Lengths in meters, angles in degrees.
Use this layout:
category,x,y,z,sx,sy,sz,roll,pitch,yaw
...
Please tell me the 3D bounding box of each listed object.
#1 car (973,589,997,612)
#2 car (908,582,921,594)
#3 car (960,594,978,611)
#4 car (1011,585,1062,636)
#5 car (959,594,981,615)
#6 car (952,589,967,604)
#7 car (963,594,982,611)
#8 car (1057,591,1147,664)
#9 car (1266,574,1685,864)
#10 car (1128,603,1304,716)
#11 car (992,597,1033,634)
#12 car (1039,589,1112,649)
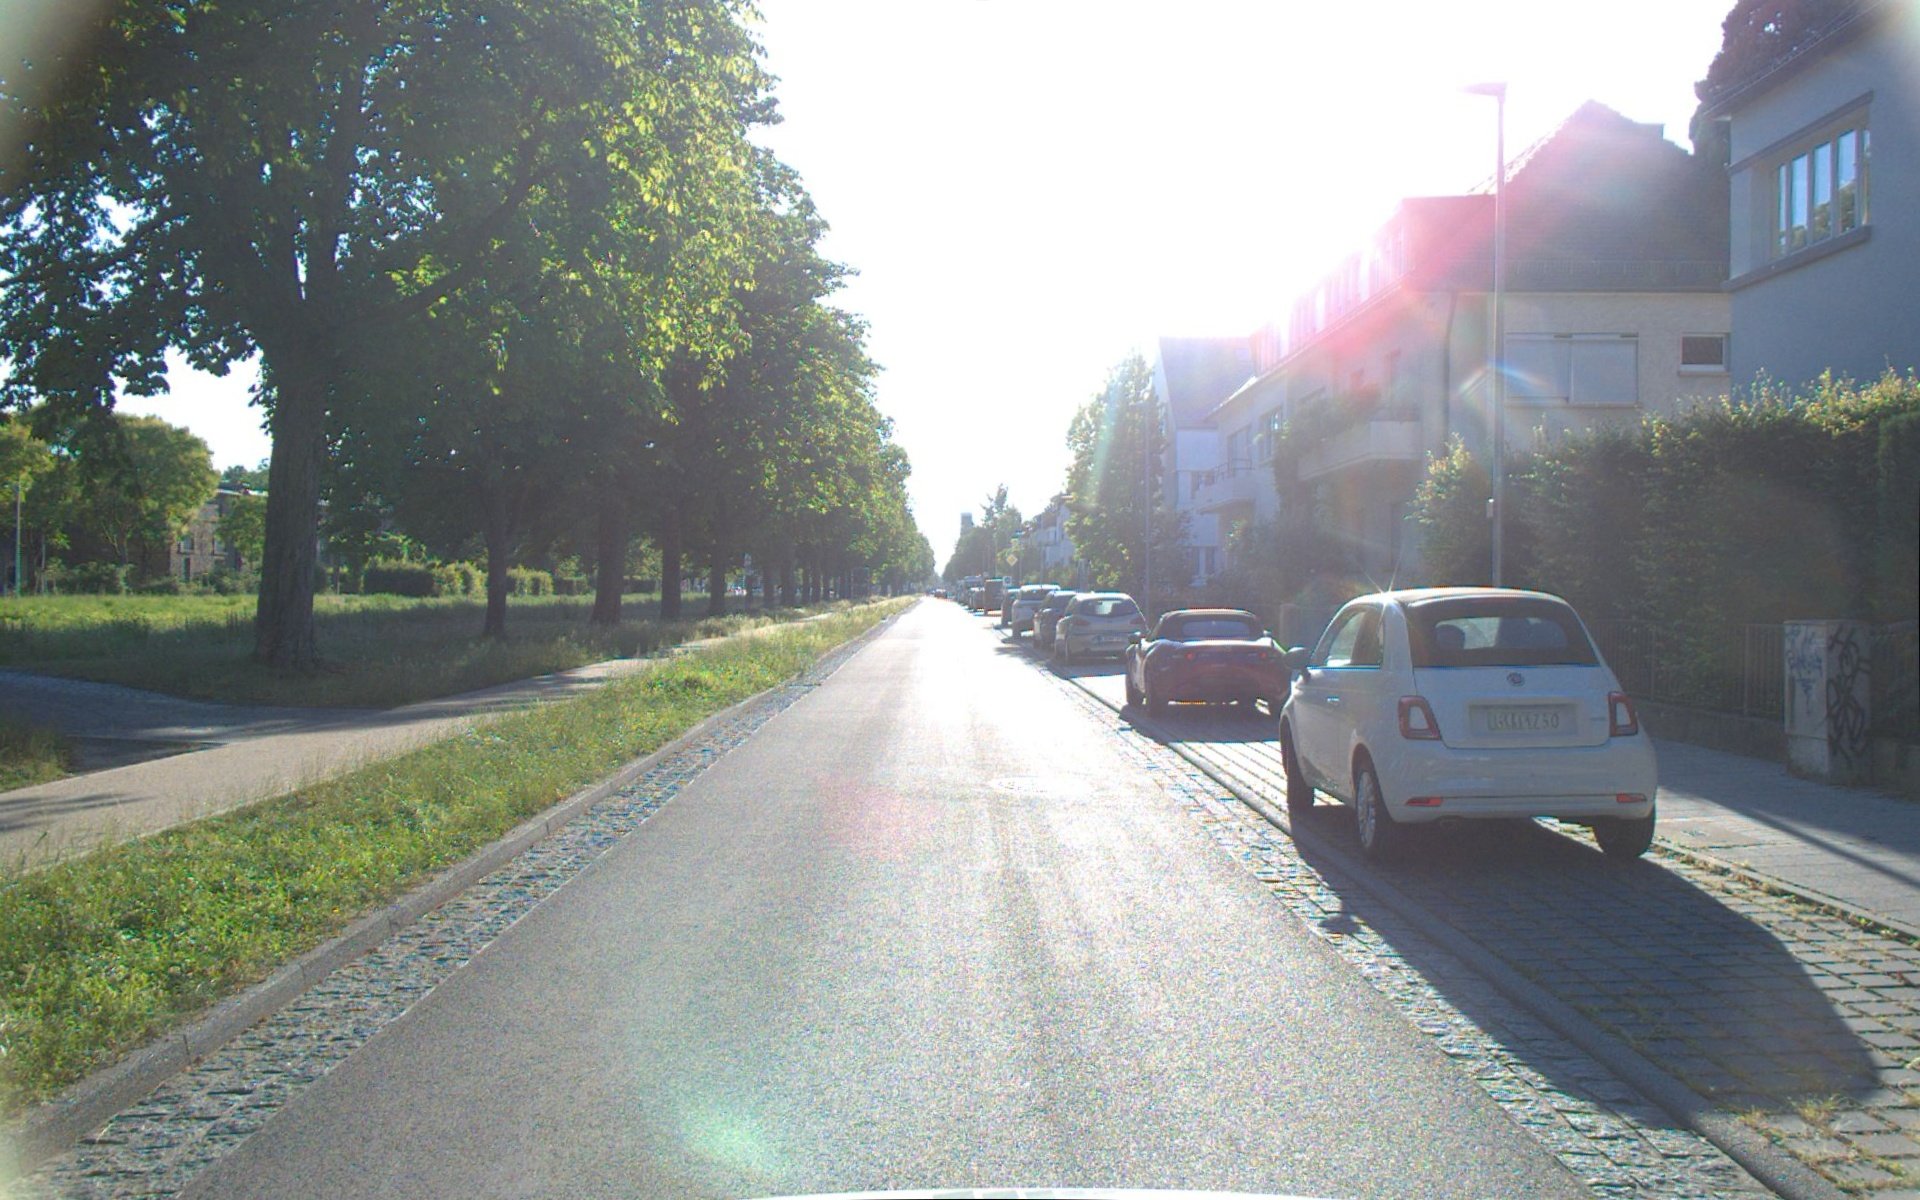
category,x,y,z,sx,sy,sz,roll,pitch,yaw
car,1.709,0.028,114.565,1.618,1.568,3.266,1,0,0
car,-6.136,-1.682,224.464,1.618,1.568,3.266,1,0,-1
car,0.881,0.225,158.789,1.618,1.568,3.266,1,0,0
car,2.414,0.318,52.717,1.467,1.594,3.266,0,0,0
car,0.754,0.332,127.000,1.618,1.568,3.266,1,0,0
car,-0.032,-0.402,189.242,1.618,1.568,3.266,1,0,-1
car,1.158,0.242,153.394,1.618,1.568,3.266,1,0,0
car,2.894,0.538,34.211,1.618,1.421,3.266,0,0,0
car,3.065,0.625,10.572,1.560,1.536,3.591,0,0,0
car,3.068,0.674,20.417,1.658,1.270,3.497,0,0,0
car,2.108,0.607,67.081,1.561,1.459,3.266,0,0,0
car,2.852,0.448,41.270,1.618,1.421,3.266,0,0,0
